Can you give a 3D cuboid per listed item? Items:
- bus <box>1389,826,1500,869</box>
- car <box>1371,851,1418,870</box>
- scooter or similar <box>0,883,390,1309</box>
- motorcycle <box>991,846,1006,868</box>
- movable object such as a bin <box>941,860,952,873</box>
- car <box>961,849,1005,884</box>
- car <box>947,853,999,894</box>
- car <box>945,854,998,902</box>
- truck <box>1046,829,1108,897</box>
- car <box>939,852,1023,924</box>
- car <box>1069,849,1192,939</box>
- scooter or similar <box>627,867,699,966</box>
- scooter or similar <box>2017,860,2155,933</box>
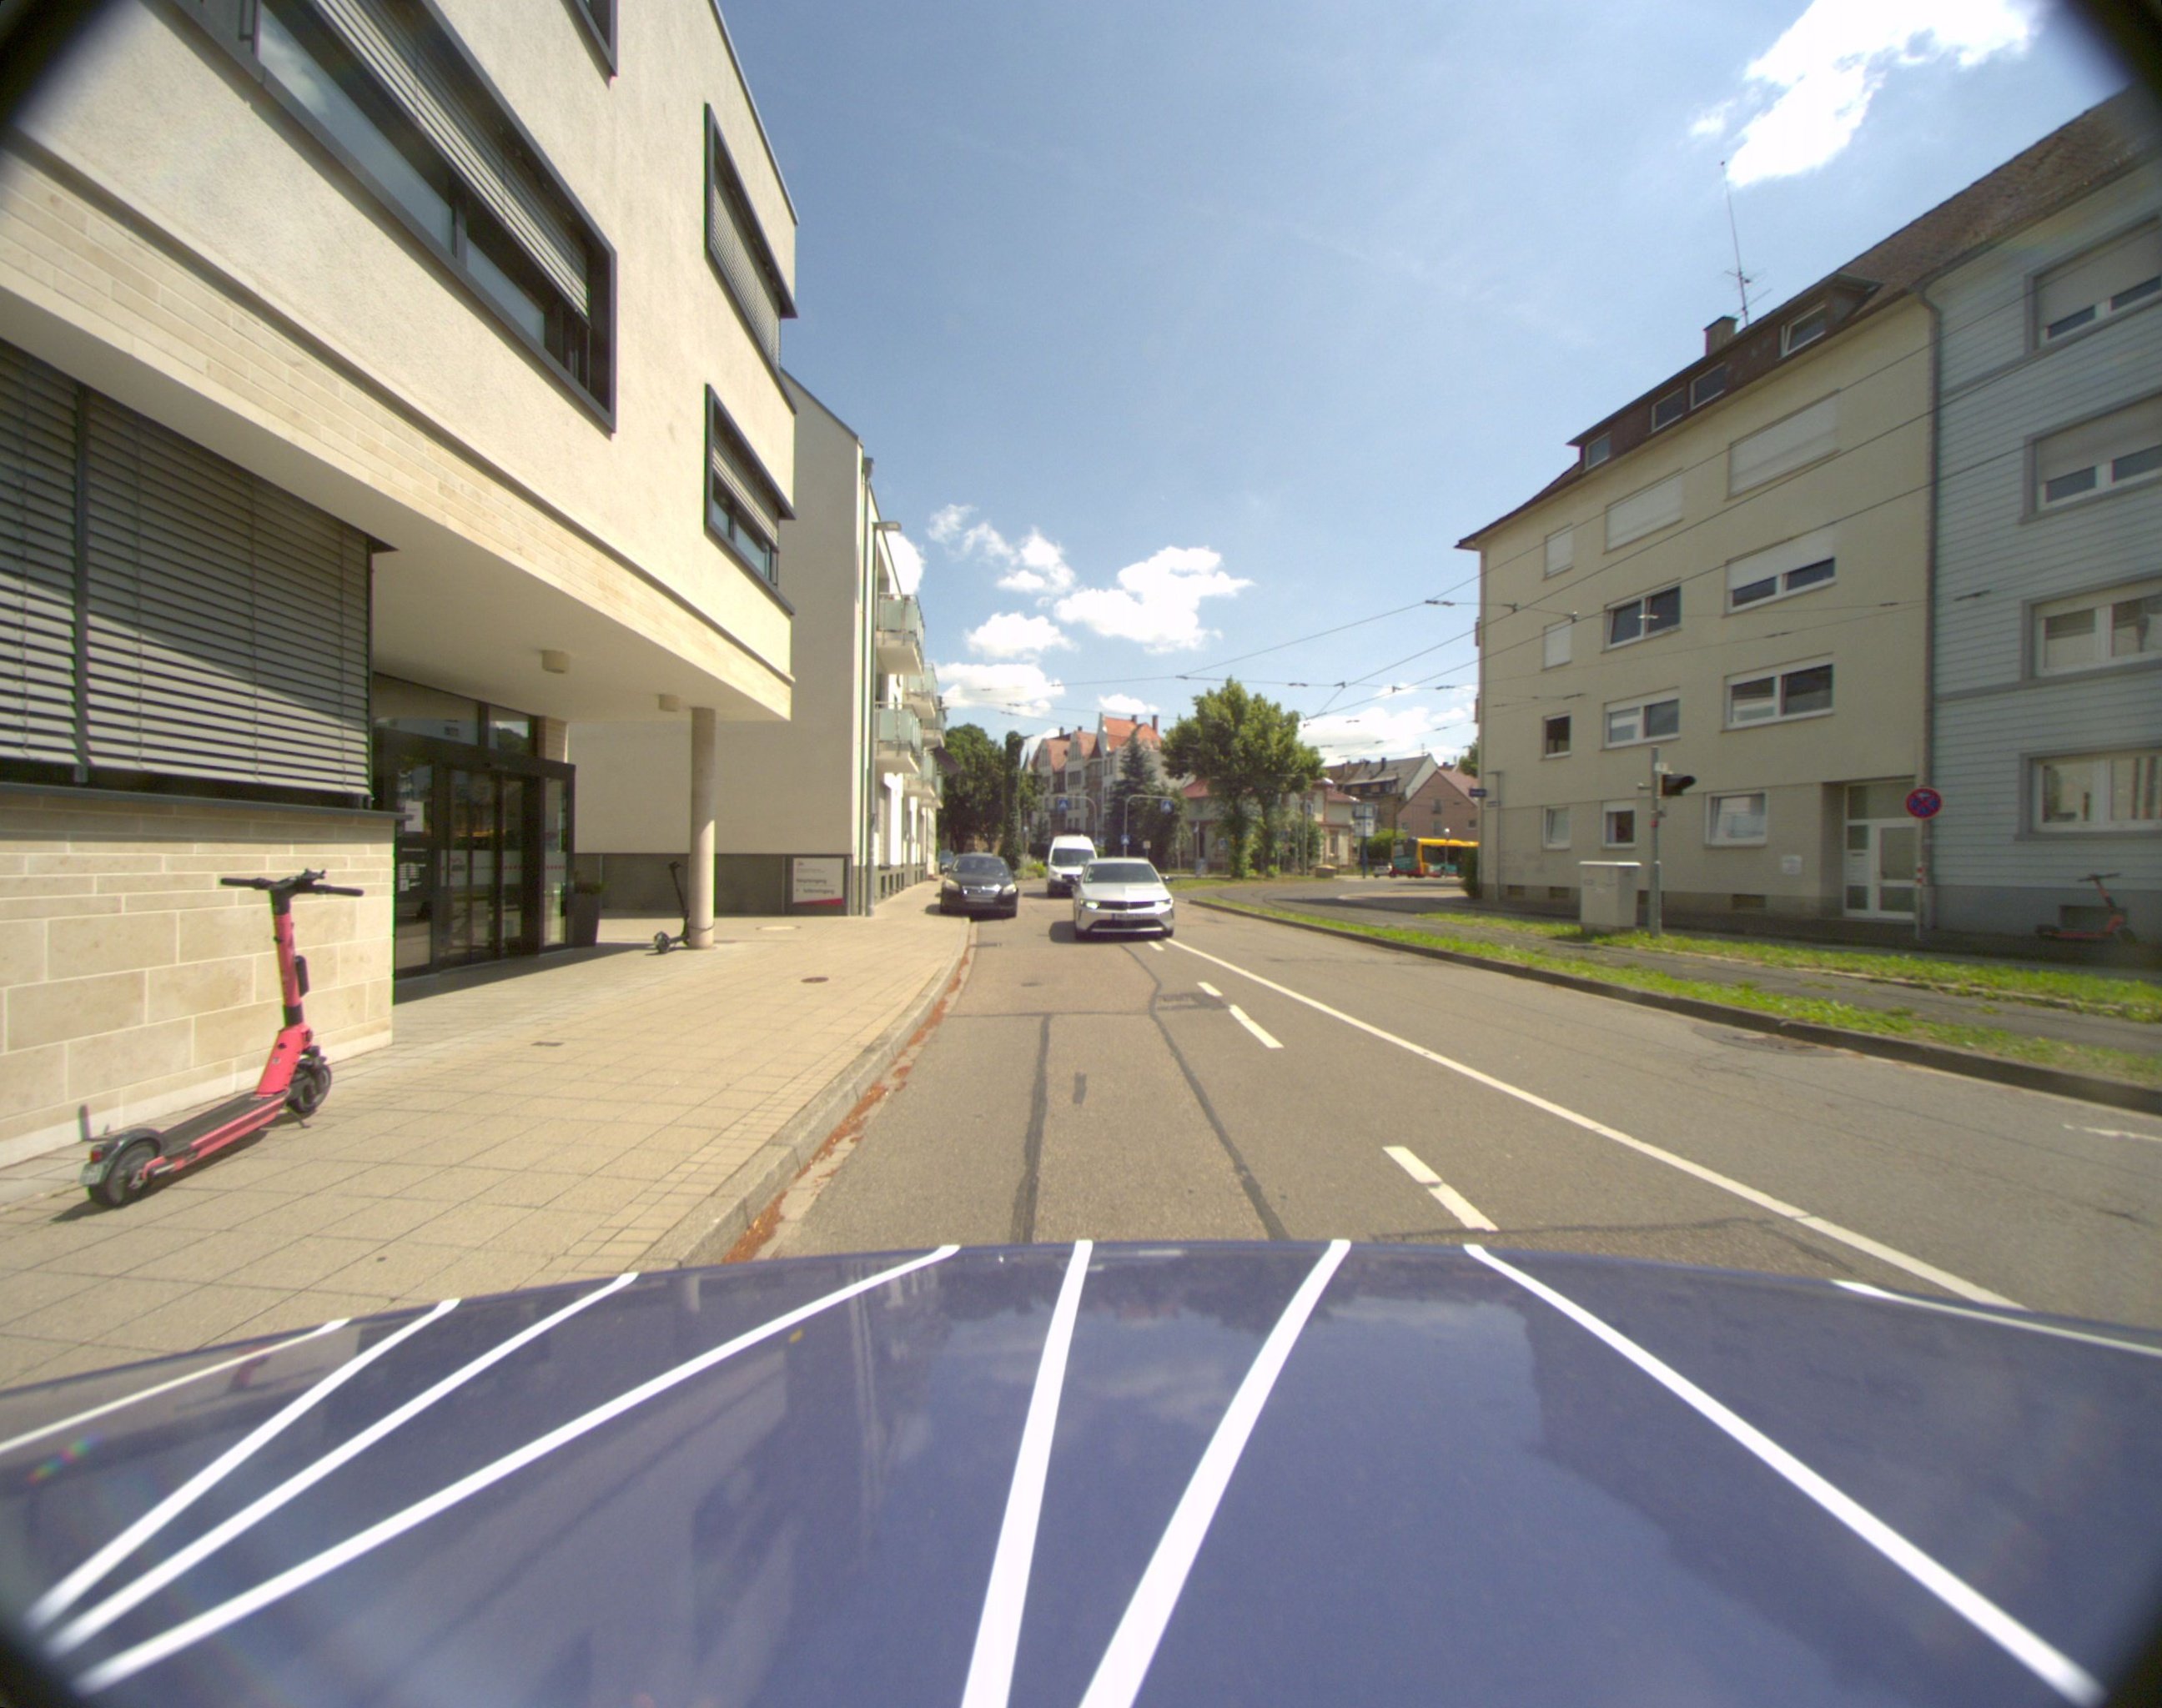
[{"bbox_3d":[30.046,-0.432,62.552,10.878,3.277,2.702,1,-1,-31],"label":"bus"},{"bbox_3d":[26.622,0.578,64.580,3.754,1.455,1.775,2,-1,-31],"label":"car"},{"bbox_3d":[-3.621,0.783,3.019,0.583,1.253,1.366,2,0,-7],"label":"scooter or similar"},{"bbox_3d":[-5.131,0.207,47.492,0.802,1.344,2.337,0,0,-4],"label":"motorcycle"},{"bbox_3d":[-9.869,0.895,55.646,0.616,0.955,0.635,0,1,9],"label":"movable object such as a bin"},{"bbox_3d":[-4.996,0.620,39.095,1.731,1.601,3.799,3,1,-1],"label":"car"},{"bbox_3d":[-4.399,0.752,31.412,1.732,1.425,4.040,4,0,-4],"label":"car"},{"bbox_3d":[-3.800,0.788,26.439,1.598,1.425,3.703,4,0,-8],"label":"car"},{"bbox_3d":[-0.147,0.287,28.328,2.020,2.236,5.407,-2,0,0],"label":"truck"},{"bbox_3d":[-2.649,0.772,19.534,1.806,1.500,4.543,4,0,-10],"label":"car"},{"bbox_3d":[0.803,0.650,14.818,1.802,1.458,4.168,0,1,-5],"label":"car"},{"bbox_3d":[-5.492,0.785,10.042,0.423,1.204,1.314,0,0,-9],"label":"scooter or similar"},{"bbox_3d":[17.704,0.716,13.419,0.640,1.216,1.319,-1,1,-13],"label":"scooter or similar"}]
